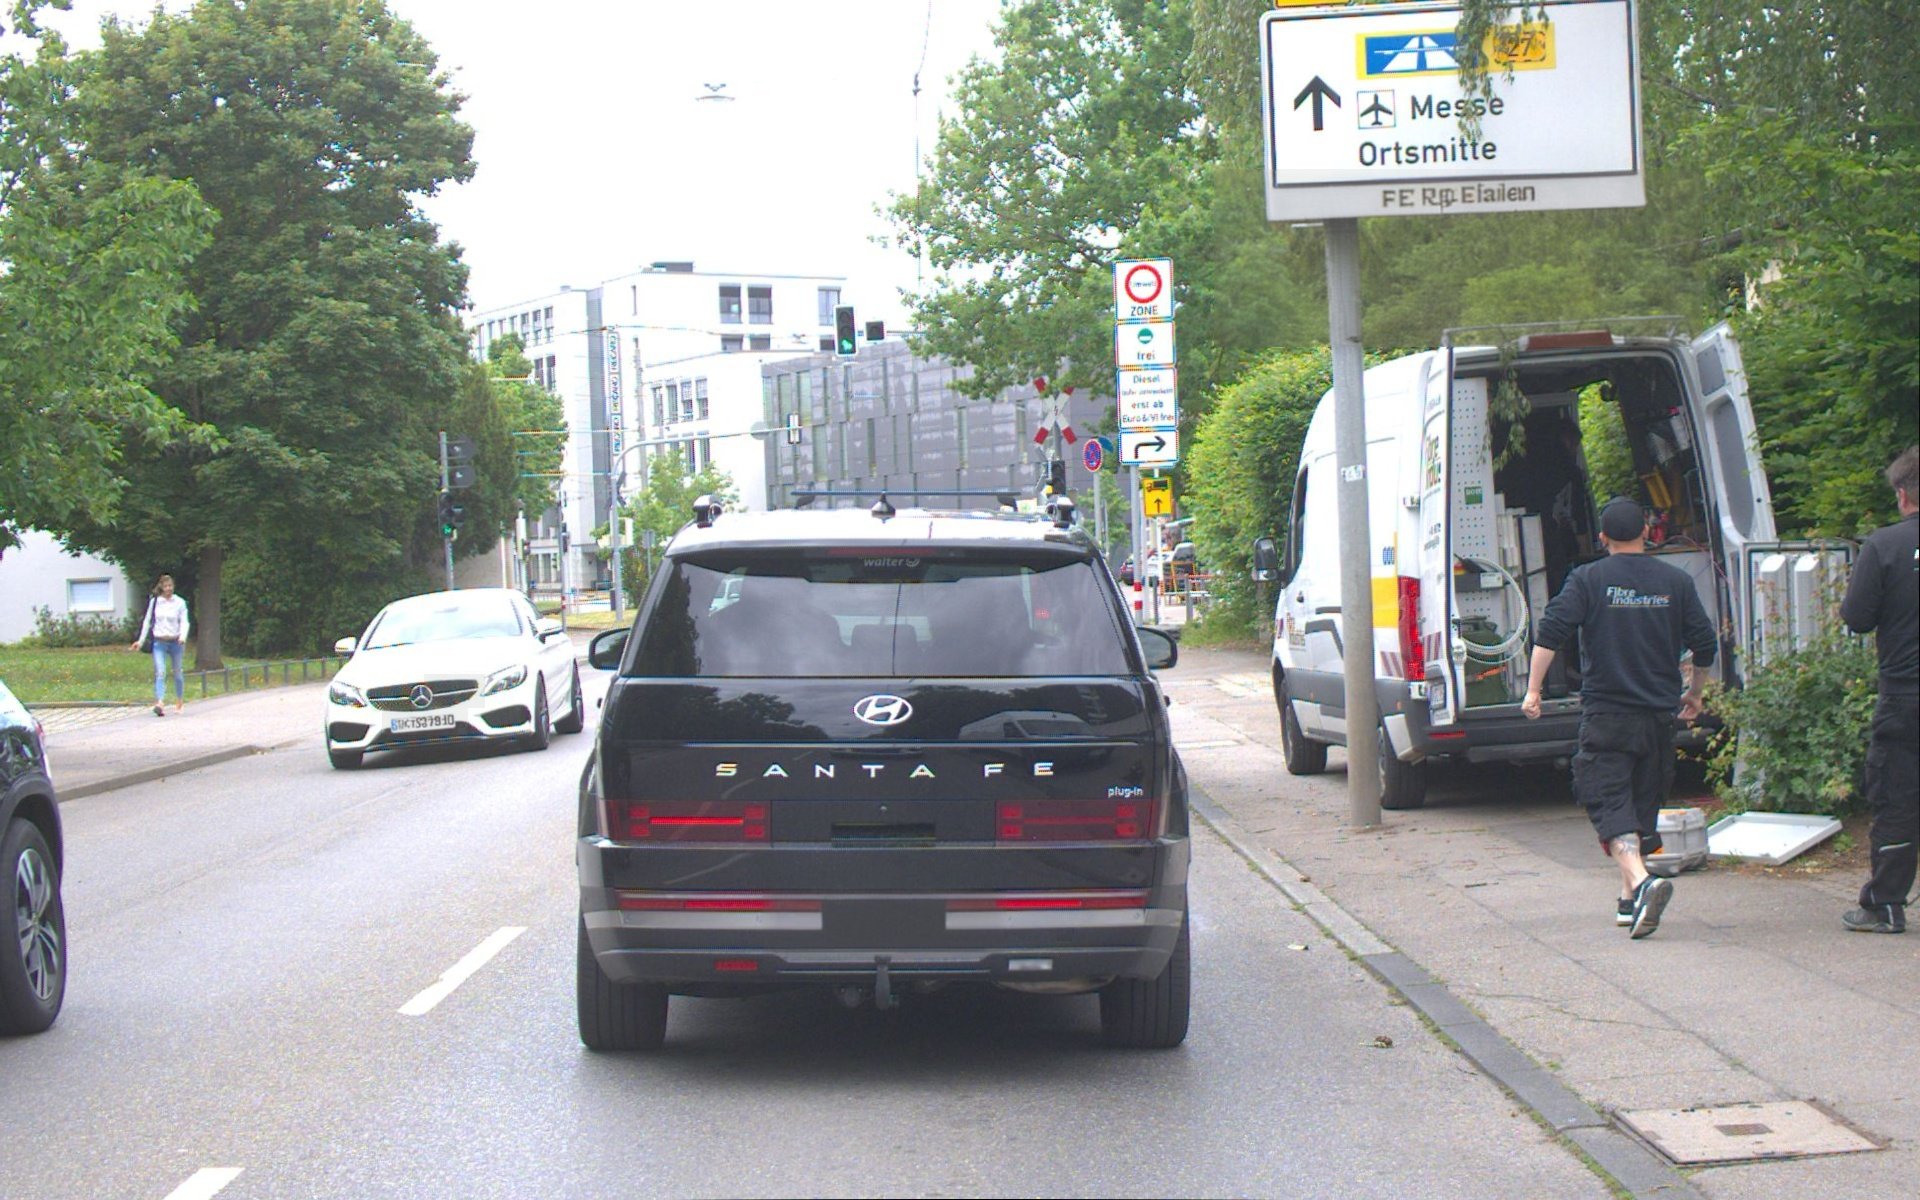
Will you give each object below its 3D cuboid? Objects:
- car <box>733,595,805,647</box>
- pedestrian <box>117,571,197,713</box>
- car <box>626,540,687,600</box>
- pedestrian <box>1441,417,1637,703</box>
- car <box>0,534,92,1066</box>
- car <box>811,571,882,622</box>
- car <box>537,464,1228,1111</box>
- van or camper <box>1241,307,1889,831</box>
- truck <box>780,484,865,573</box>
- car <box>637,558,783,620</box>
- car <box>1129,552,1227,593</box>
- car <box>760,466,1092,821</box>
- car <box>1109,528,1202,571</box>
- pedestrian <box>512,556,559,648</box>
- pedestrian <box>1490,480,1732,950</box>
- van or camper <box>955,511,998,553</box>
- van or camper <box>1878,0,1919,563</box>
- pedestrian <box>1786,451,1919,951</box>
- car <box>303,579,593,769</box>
[{"bbox_3d":[-5.706,0.613,102.415,1.883,1.415,4.001,-2,1,-6],"label":"car"},{"bbox_3d":[-9.969,0.510,42.679,0.767,1.742,0.904,0,0,1],"label":"pedestrian"},{"bbox_3d":[-12.346,-1.212,139.665,2.332,2.307,4.959,-2,1,-6],"label":"car"},{"bbox_3d":[3.409,-0.230,20.272,0.736,1.638,0.801,-2,0,-28],"label":"pedestrian"},{"bbox_3d":[-3.922,0.678,9.642,1.880,1.639,4.128,-4,0,-1],"label":"car"},{"bbox_3d":[-3.786,-0.128,114.324,1.883,1.633,3.899,-2,1,-9],"label":"car"},{"bbox_3d":[-0.232,0.516,11.622,1.897,1.770,3.994,1,0,0],"label":"car"},{"bbox_3d":[3.356,-0.137,20.817,2.340,2.486,6.603,-5,0,-2],"label":"van or camper"},{"bbox_3d":[-6.293,-3.192,156.450,3.107,3.846,9.623,-2,1,-6],"label":"truck"},{"bbox_3d":[-6.547,-0.308,90.584,1.840,1.533,4.261,-1,1,28],"label":"car"},{"bbox_3d":[8.978,-1.148,141.935,3.987,1.578,1.889,-2,1,3],"label":"car"},{"bbox_3d":[-0.212,0.245,22.097,1.897,2.035,3.994,1,0,0],"label":"car"},{"bbox_3d":[7.775,-1.997,136.678,3.642,1.578,1.751,-2,1,3],"label":"car"},{"bbox_3d":[-9.433,0.039,76.465,0.830,2.007,1.047,1,0,2],"label":"pedestrian"},{"bbox_3d":[2.502,0.432,13.158,0.750,1.715,0.791,-3,-1,16],"label":"pedestrian"},{"bbox_3d":[0.793,-3.307,168.047,1.795,1.992,3.824,1,0,-4],"label":"van or camper"},{"bbox_3d":[2.685,0.059,2.657,1.991,2.616,6.544,-4,0,0],"label":"van or camper"},{"bbox_3d":[3.431,0.350,12.404,0.647,1.745,0.655,-1,0,-7],"label":"pedestrian"},{"bbox_3d":[-4.467,0.594,30.682,1.814,1.414,4.829,-5,0,-1],"label":"car"}]
